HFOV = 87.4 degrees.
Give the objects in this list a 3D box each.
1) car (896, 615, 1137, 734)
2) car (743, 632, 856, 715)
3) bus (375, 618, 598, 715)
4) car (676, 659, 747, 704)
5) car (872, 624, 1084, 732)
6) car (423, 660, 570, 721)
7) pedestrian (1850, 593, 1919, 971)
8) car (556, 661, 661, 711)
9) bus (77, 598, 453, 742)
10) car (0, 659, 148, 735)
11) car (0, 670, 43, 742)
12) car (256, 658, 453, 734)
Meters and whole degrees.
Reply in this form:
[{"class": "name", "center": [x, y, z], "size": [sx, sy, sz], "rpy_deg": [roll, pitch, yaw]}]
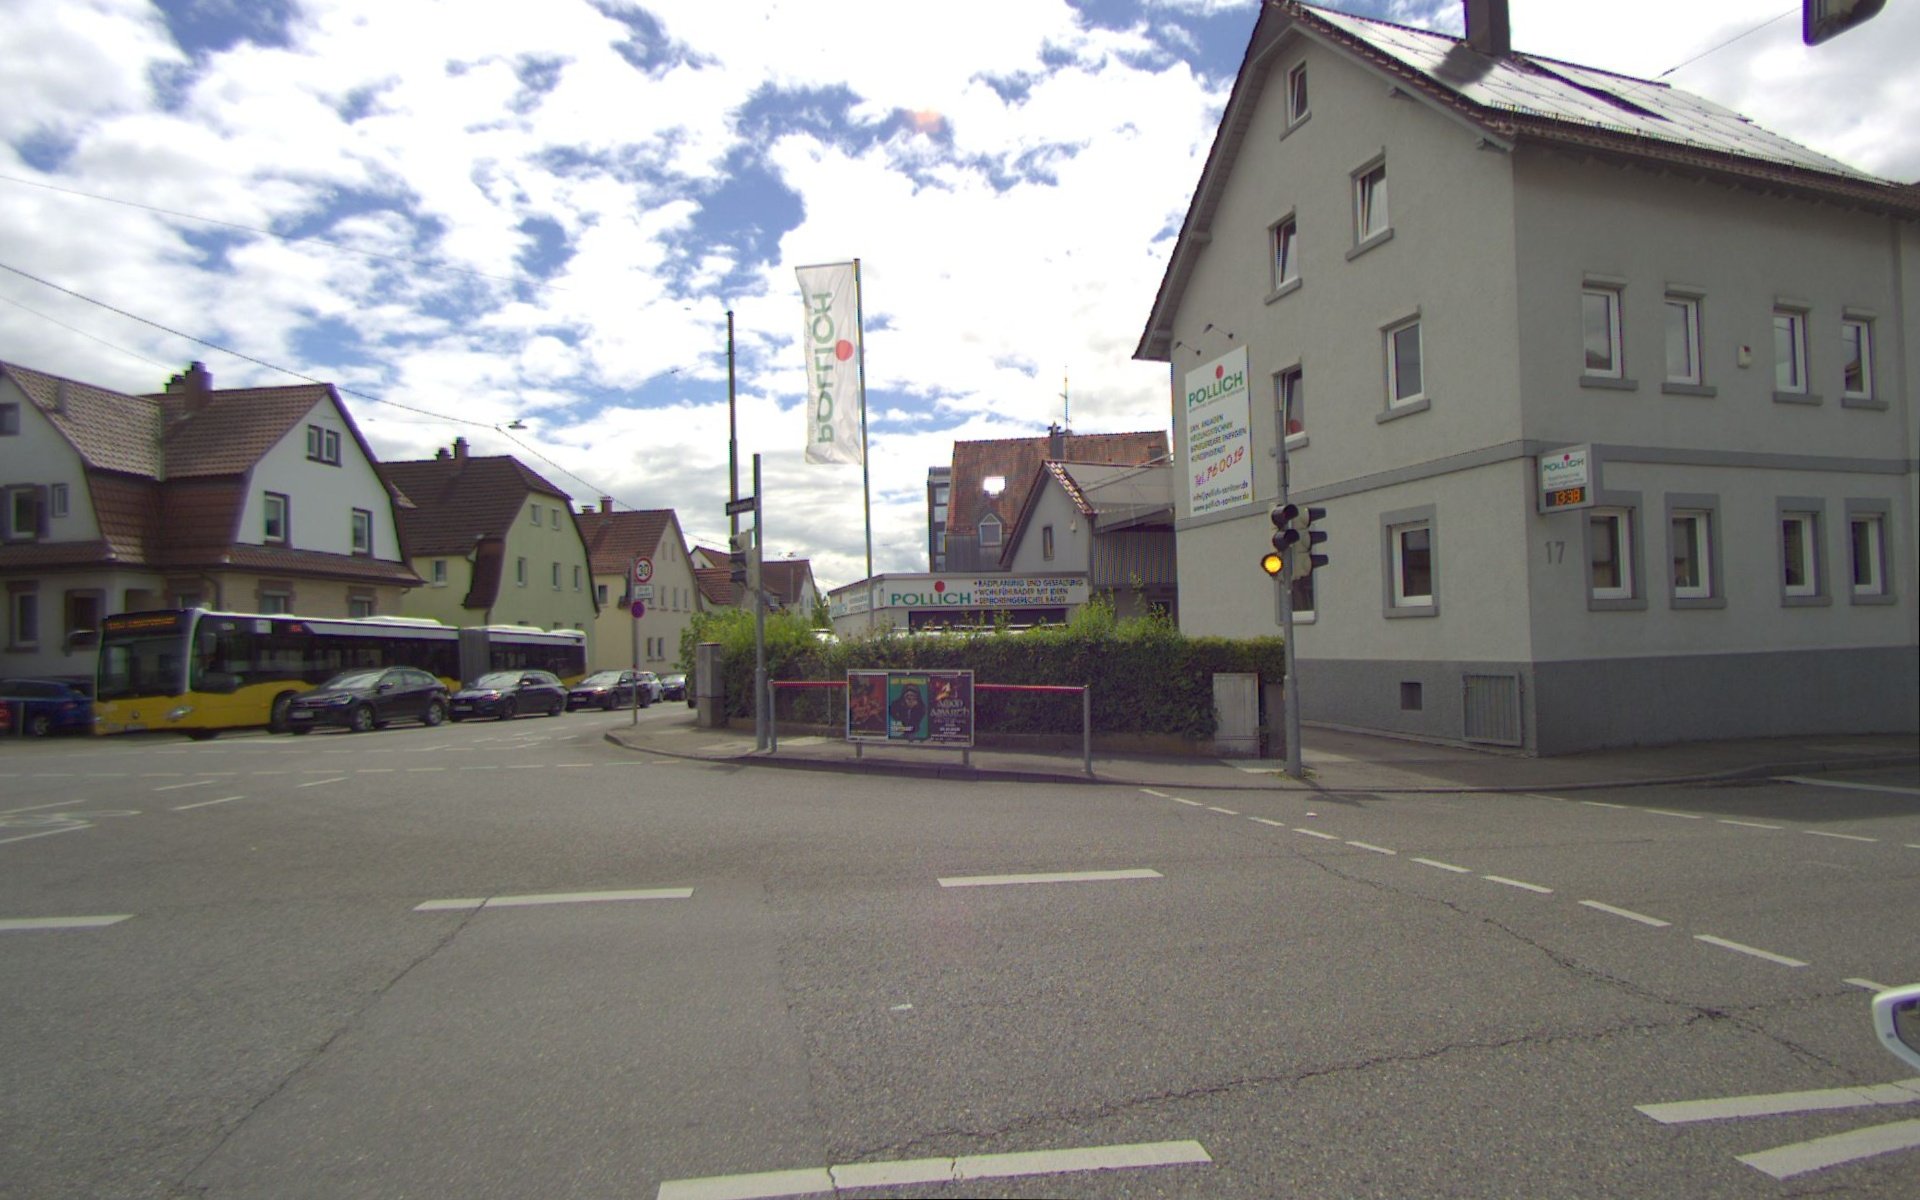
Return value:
[{"class": "car", "center": [0.987, 1.320, 18.352], "size": [3.937, 1.973, 1.993], "rpy_deg": [1, -4, -19]}, {"class": "car", "center": [-4.513, 1.966, 27.453], "size": [1.971, 2.040, 5.099], "rpy_deg": [1, -3, -22]}, {"class": "bus", "center": [-16.291, 2.307, 35.618], "size": [2.730, 2.952, 9.199], "rpy_deg": [-1, -3, 6]}, {"class": "car", "center": [-9.655, 3.155, 39.317], "size": [1.740, 1.596, 4.003], "rpy_deg": [-1, -3, 1]}, {"class": "car", "center": [0.330, 1.559, 20.668], "size": [3.936, 2.040, 1.993], "rpy_deg": [0, -3, -18]}, {"class": "car", "center": [-13.502, 2.604, 29.580], "size": [1.959, 1.661, 4.187], "rpy_deg": [-1, -3, 8]}, {"class": "pedestrian", "center": [4.656, 0.805, 4.351], "size": [0.821, 1.659, 0.873], "rpy_deg": [1, -2, -8]}, {"class": "car", "center": [-12.643, 3.068, 36.373], "size": [1.959, 1.661, 4.004], "rpy_deg": [-1, -3, 8]}, {"class": "bus", "center": [-17.459, 1.771, 26.451], "size": [2.730, 3.100, 9.199], "rpy_deg": [-1, -3, 6]}, {"class": "car", "center": [-24.934, 2.605, 27.387], "size": [3.920, 1.705, 2.002], "rpy_deg": [4, -3, 4]}, {"class": "car", "center": [-25.099, 2.515, 24.341], "size": [3.920, 1.661, 2.002], "rpy_deg": [2, -3, 4]}, {"class": "car", "center": [-14.458, 2.253, 24.296], "size": [1.959, 1.661, 4.004], "rpy_deg": [-1, -3, 8]}]
